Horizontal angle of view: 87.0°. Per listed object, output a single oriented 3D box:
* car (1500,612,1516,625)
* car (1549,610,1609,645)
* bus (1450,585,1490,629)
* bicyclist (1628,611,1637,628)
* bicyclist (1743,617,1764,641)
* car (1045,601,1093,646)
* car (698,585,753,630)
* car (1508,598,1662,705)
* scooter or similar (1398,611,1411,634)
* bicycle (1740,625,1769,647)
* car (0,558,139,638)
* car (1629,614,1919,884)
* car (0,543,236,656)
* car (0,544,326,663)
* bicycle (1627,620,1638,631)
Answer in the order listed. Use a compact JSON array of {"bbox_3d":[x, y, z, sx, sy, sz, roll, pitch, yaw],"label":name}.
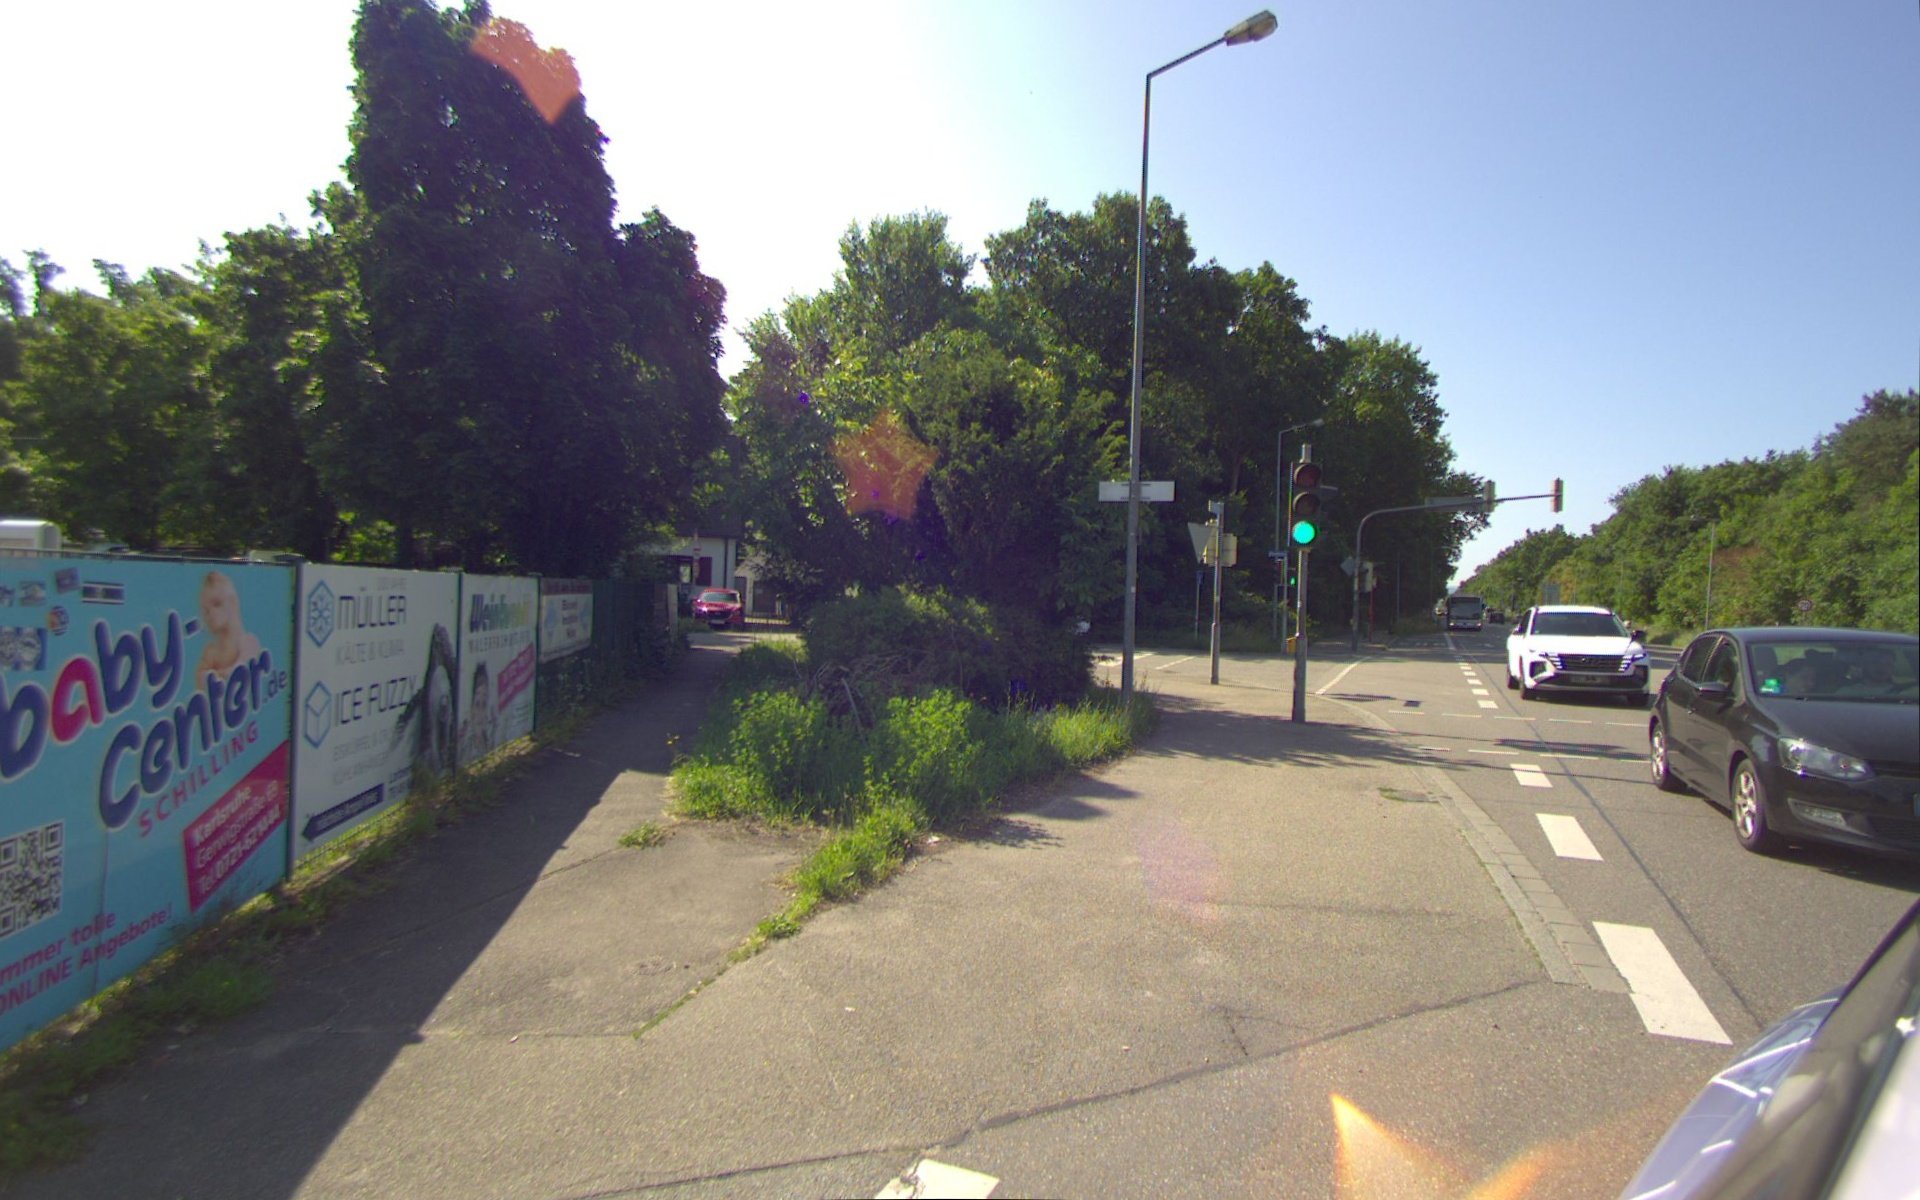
[{"bbox_3d":[77.270,2.610,142.756,1.779,1.718,4.352,3,1,26],"label":"car"},{"bbox_3d":[26.638,1.150,43.648,1.772,1.442,4.382,0,-1,26],"label":"car"},{"bbox_3d":[42.506,0.571,84.503,2.756,3.501,7.725,0,0,25],"label":"bus"},{"bbox_3d":[62.568,1.813,94.153,0.606,1.485,0.935,0,0,28],"label":"bicyclist"},{"bbox_3d":[45.669,1.651,58.280,0.715,1.327,0.876,2,0,24],"label":"bicyclist"},{"bbox_3d":[3.999,0.810,37.258,1.601,1.482,4.607,2,0,6],"label":"car"},{"bbox_3d":[-8.414,0.236,36.577,1.595,1.482,3.994,2,0,-9],"label":"car"},{"bbox_3d":[11.108,0.819,18.267,1.794,1.669,4.271,0,0,24],"label":"car"},{"bbox_3d":[25.702,1.290,58.547,0.395,1.323,1.325,2,0,11],"label":"scooter or similar"},{"bbox_3d":[45.687,2.075,58.248,0.727,1.178,2.353,2,0,24],"label":"bicycle"},{"bbox_3d":[-18.650,-0.064,19.914,1.668,1.456,3.477,4,2,27],"label":"car"},{"bbox_3d":[6.203,0.823,7.196,1.632,1.449,4.023,-1,-1,23],"label":"car"},{"bbox_3d":[-15.555,-0.094,18.134,1.666,1.815,3.909,2,3,24],"label":"car"},{"bbox_3d":[-12.577,0.035,16.150,1.665,1.649,3.907,1,0,24],"label":"car"},{"bbox_3d":[62.592,2.380,94.138,0.600,0.926,2.118,2,0,27],"label":"bicycle"}]
